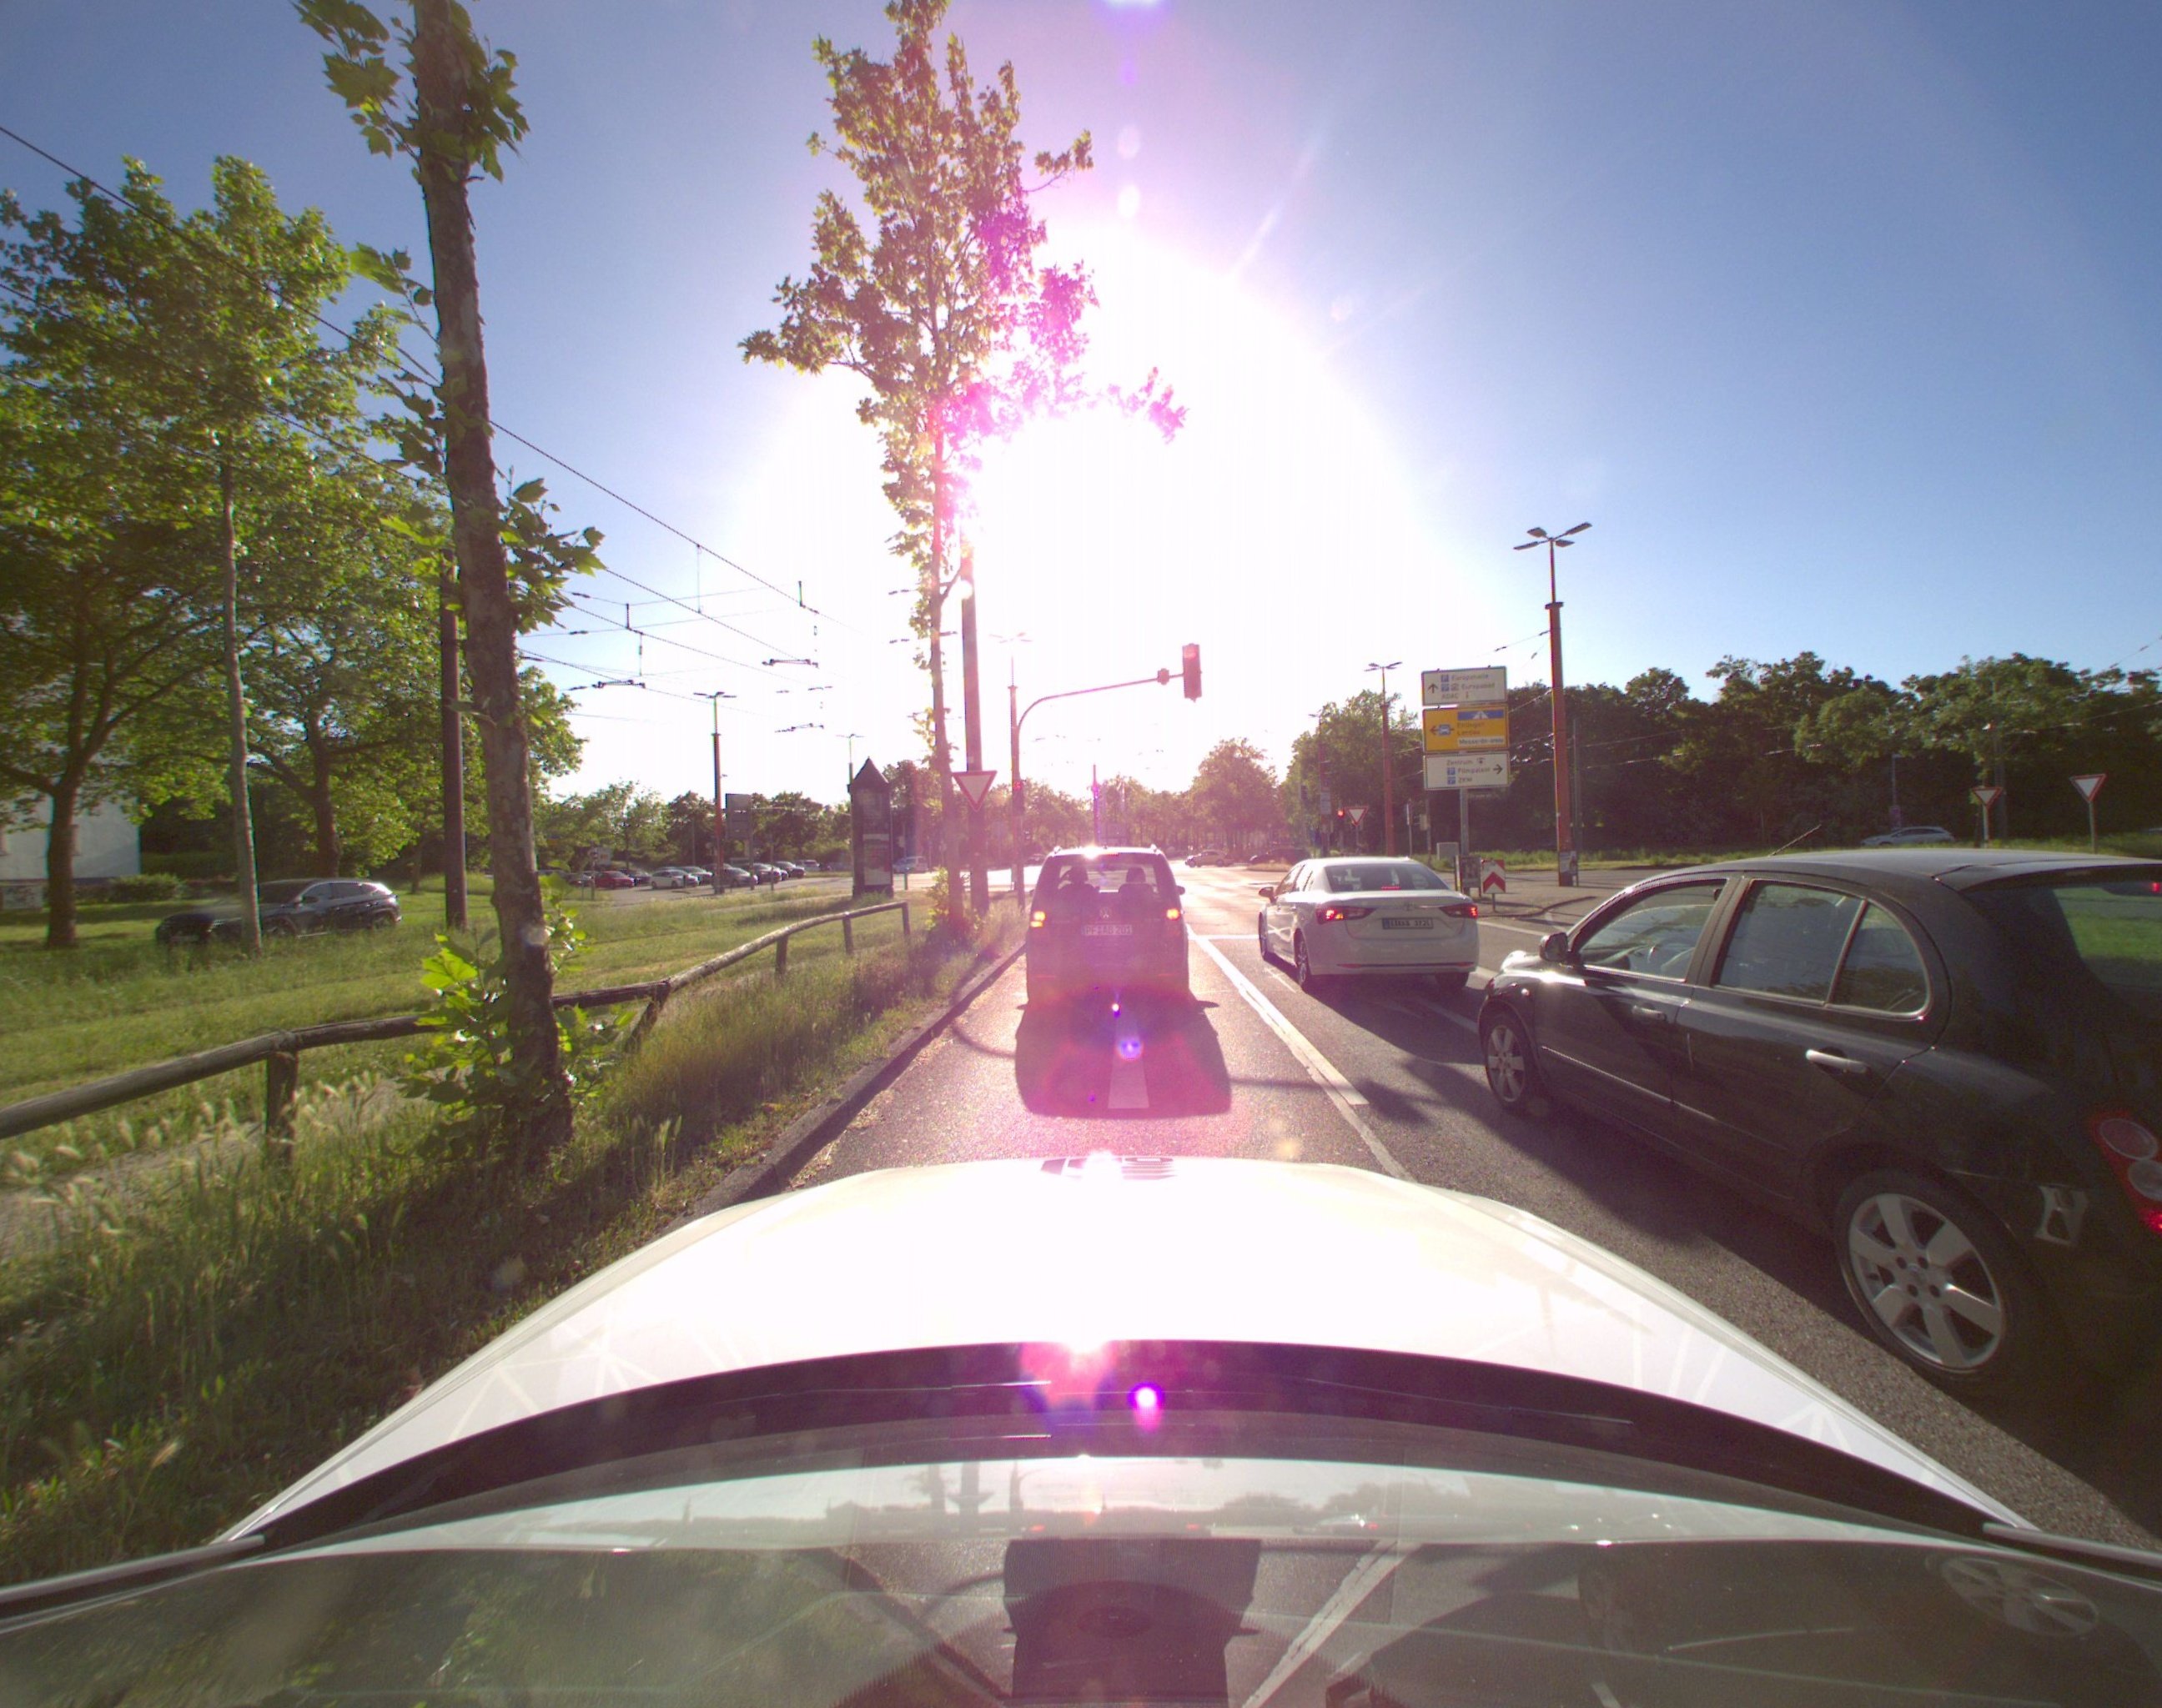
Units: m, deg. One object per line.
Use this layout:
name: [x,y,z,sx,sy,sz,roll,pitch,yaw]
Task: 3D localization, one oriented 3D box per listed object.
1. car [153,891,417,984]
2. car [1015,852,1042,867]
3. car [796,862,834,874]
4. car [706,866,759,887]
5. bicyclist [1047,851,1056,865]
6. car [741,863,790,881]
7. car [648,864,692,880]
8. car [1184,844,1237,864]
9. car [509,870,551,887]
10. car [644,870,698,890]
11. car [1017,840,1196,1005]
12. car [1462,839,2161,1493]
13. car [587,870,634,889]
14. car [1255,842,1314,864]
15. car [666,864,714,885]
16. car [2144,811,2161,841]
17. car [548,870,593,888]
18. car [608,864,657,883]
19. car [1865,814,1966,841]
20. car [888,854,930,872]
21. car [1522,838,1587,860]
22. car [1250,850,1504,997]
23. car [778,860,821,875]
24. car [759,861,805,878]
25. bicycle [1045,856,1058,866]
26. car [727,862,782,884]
car: [-17.738,1.778,18.505,1.645,1.618,4.297,-1,0,2]
car: [-6.629,0.658,103.081,1.636,1.750,4.156,-1,0,25]
car: [-32.250,1.697,98.603,4.087,1.403,1.664,-1,0,16]
car: [-26.045,1.671,60.852,3.793,1.441,1.667,-1,0,29]
bicyclist: [-4.046,0.569,111.920,0.969,1.904,1.055,-2,0,14]
car: [-26.839,1.523,69.200,4.102,1.415,1.553,-1,0,28]
car: [-38.203,1.668,75.720,4.102,1.415,1.553,-1,0,28]
car: [11.122,0.001,69.958,4.164,1.681,1.667,-1,0,28]
car: [-51.132,2.259,75.535,4.145,1.520,1.667,-1,0,32]
car: [-32.628,2.073,64.719,4.577,1.520,1.667,-1,0,32]
car: [0.358,0.689,10.095,1.731,1.602,4.329,0,-1,3]
car: [3.171,0.694,3.502,1.570,1.440,3.443,0,-1,2]
car: [-39.448,2.149,68.264,4.145,1.520,1.667,-1,0,32]
car: [15.831,-0.072,63.398,4.163,1.681,1.667,-1,0,30]
car: [-33.092,1.725,68.944,4.285,1.692,1.667,-1,0,34]
car: [56.534,-1.453,40.730,3.755,1.510,1.667,-1,0,30]
car: [-45.085,2.220,71.914,4.145,1.520,1.667,-1,0,32]
car: [-40.461,1.726,73.444,4.583,1.647,1.767,-1,0,32]
car: [49.601,-1.530,48.519,3.877,1.457,1.667,-1,0,28]
car: [-18.097,0.927,85.602,4.081,1.750,1.666,-1,0,25]
car: [33.248,-0.318,57.270,3.877,1.457,1.666,-1,0,27]
car: [3.365,0.708,10.200,1.792,1.440,4.329,0,0,3]
car: [-30.464,1.457,87.977,4.616,1.625,1.667,-1,0,28]
car: [-26.736,1.381,72.824,4.102,1.415,1.553,-1,0,28]
bicycle: [-4.046,0.960,111.878,0.969,1.388,2.991,-2,0,15]
car: [-26.121,1.507,65.039,4.583,1.647,1.667,-1,0,32]
